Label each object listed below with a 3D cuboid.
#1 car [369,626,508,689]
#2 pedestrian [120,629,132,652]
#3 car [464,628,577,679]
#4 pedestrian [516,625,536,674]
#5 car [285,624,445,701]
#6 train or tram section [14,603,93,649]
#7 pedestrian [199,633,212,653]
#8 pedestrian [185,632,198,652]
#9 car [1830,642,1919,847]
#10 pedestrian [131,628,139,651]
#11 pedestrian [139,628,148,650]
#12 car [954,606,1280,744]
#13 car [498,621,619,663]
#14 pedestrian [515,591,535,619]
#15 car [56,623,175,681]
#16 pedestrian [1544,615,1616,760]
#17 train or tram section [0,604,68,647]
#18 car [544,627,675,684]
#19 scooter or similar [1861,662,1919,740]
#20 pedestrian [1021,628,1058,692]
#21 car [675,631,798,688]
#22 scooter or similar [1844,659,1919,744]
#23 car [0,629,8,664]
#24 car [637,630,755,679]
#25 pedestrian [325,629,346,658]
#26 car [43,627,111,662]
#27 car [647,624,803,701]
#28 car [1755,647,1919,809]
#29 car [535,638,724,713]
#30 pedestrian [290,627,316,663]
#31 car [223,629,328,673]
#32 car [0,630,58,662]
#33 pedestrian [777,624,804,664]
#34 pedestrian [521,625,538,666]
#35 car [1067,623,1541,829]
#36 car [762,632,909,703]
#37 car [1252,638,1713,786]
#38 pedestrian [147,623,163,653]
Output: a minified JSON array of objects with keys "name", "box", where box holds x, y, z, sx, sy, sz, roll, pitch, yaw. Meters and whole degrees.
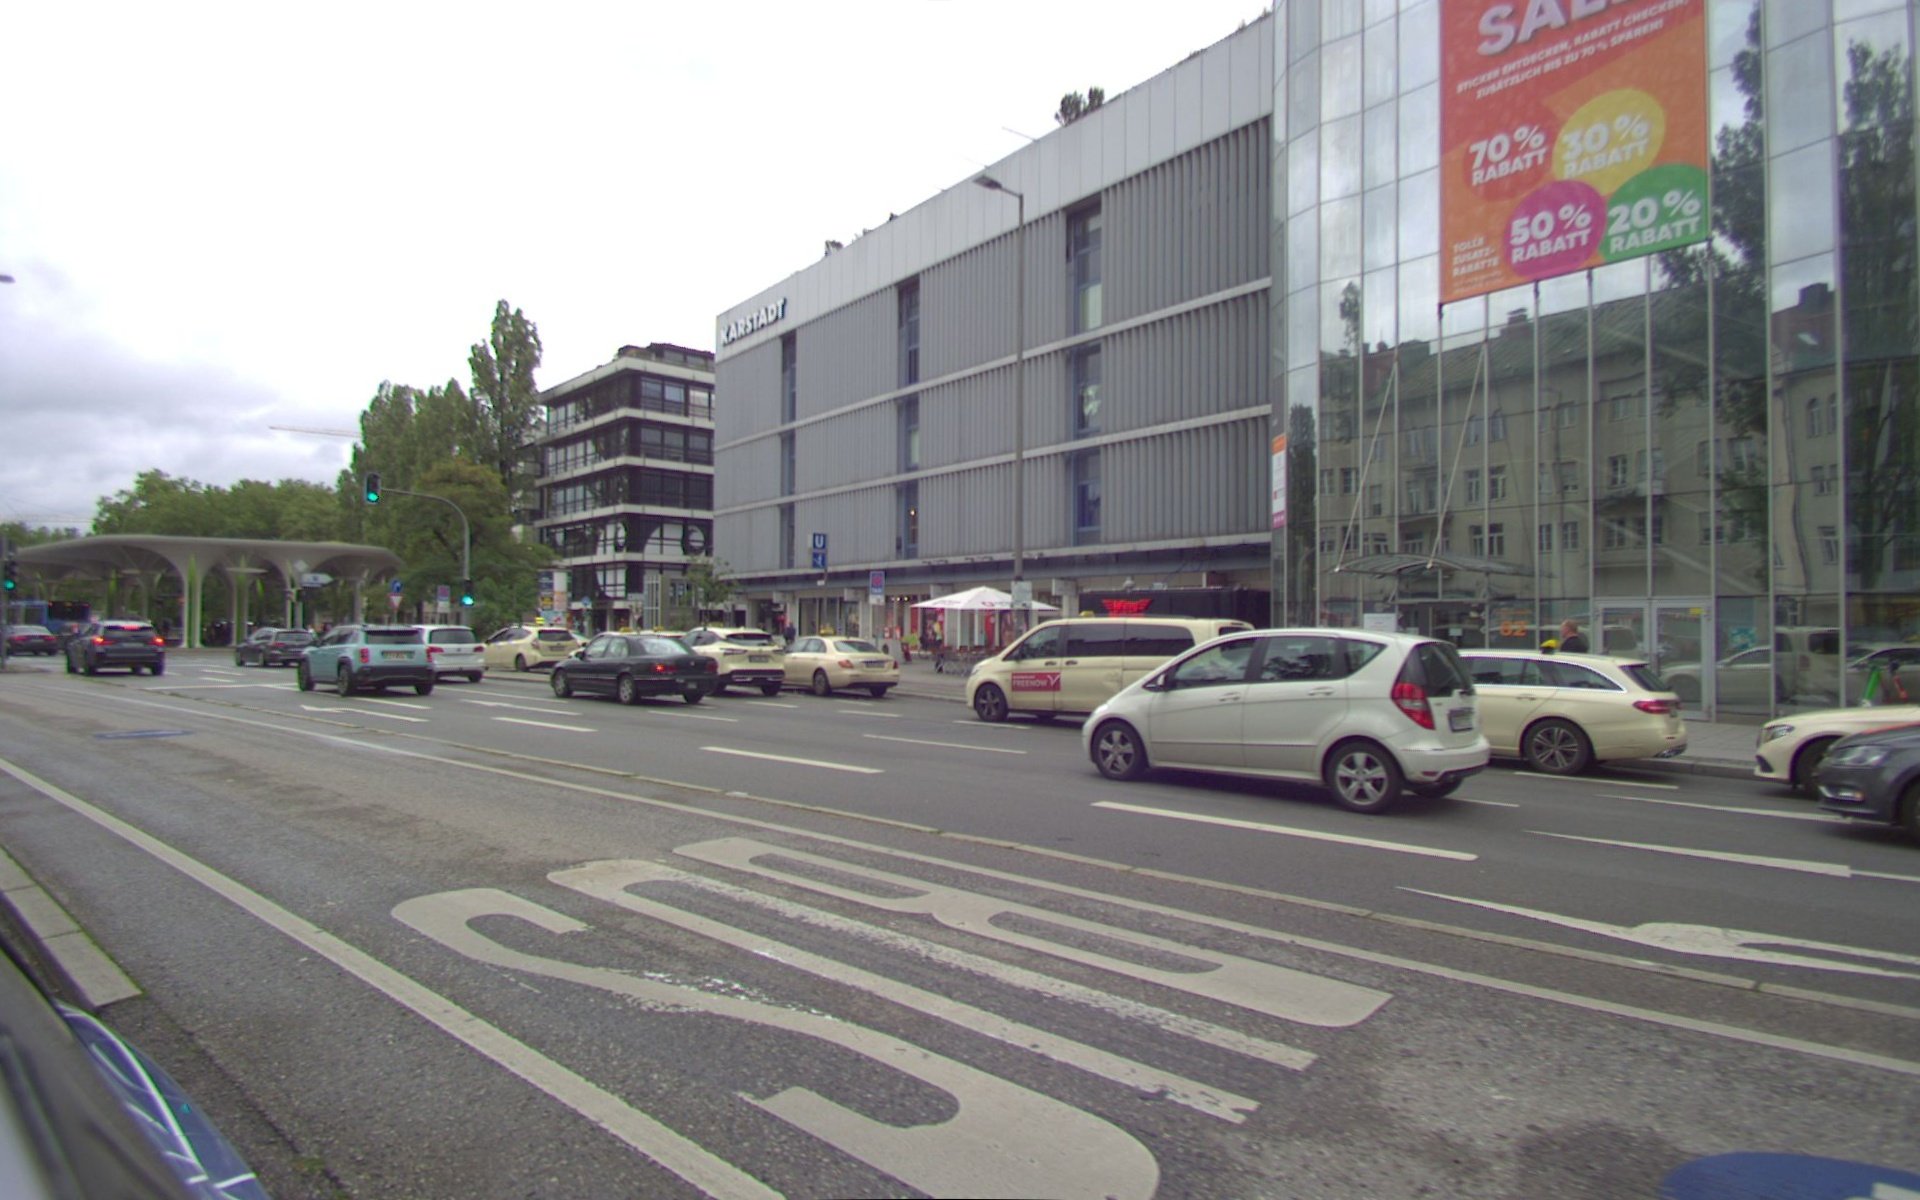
[{"name":"car","box":[-14.532,1.539,28.121,4.287,1.612,1.973,-1,-3,41]},{"name":"pedestrian","box":[-54.842,2.676,66.549,0.419,1.514,0.491,1,-2,-26]},{"name":"car","box":[-14.887,1.758,34.182,4.471,1.624,1.572,-1,-3,38]},{"name":"pedestrian","box":[-15.679,1.776,36.577,0.428,1.742,0.519,-1,0,38]},{"name":"car","box":[-13.353,1.370,22.628,3.997,1.557,1.799,-1,-5,40]},{"name":"train or tram section","box":[-62.825,1.840,70.097,7.397,3.024,2.806,-1,-2,38]},{"name":"pedestrian","box":[-51.227,2.942,68.753,0.591,1.348,0.543,-2,-3,38]},{"name":"pedestrian","box":[-51.755,2.809,68.139,0.591,1.348,0.543,-2,-3,38]},{"name":"car","box":[8.663,1.048,6.921,4.001,1.477,1.763,-2,-3,44]},{"name":"pedestrian","box":[-54.468,2.599,66.808,0.316,1.514,0.317,-1,-2,29]},{"name":"pedestrian","box":[-54.105,2.581,67.035,0.316,1.514,0.331,-1,-2,29]},{"name":"car","box":[2.535,1.179,17.351,5.319,2.029,1.972,-1,-3,41]},{"name":"car","box":[-15.176,1.560,38.253,4.272,1.522,1.844,-1,-2,24]},{"name":"pedestrian","box":[-20.859,0.262,48.537,0.773,1.318,0.537,-2,-3,39]},{"name":"car","box":[-25.677,1.545,30.740,4.409,1.633,1.973,-1,-4,40]},{"name":"pedestrian","box":[8.440,1.154,13.772,0.786,1.881,0.837,-1,-3,34]},{"name":"train or tram section","box":[-68.619,1.899,74.703,7.397,3.024,2.806,-1,-2,38]},{"name":"car","box":[-10.472,1.590,30.033,1.922,1.552,4.853,2,-3,-42]},{"name":"scooter or similar","box":[14.721,1.560,15.740,0.992,1.182,0.252,-1,-2,25]},{"name":"pedestrian","box":[2.317,1.732,29.476,0.814,1.819,0.783,-1,-3,29]},{"name":"car","box":[-6.646,1.699,29.893,1.731,1.548,4.003,2,-3,-43]},{"name":"scooter or similar","box":[13.861,1.500,15.072,0.994,1.233,0.252,-1,-2,32]},{"name":"car","box":[-42.628,1.998,43.530,2.773,1.518,1.548,0,-2,25]},{"name":"car","box":[-8.954,1.796,34.197,3.997,1.579,1.887,-2,-3,40]},{"name":"pedestrian","box":[-39.779,2.769,64.442,0.979,1.791,0.850,-2,-3,39]},{"name":"car","box":[-47.191,2.362,54.074,4.594,1.791,1.973,-2,-3,40]},{"name":"car","box":[-5.846,1.494,24.806,1.862,1.711,4.389,4,-4,-41]},{"name":"car","box":[10.401,1.208,8.954,1.833,1.480,4.992,4,-4,-38]},{"name":"car","box":[-7.119,1.522,21.561,4.686,1.420,1.711,-2,-3,42]},{"name":"pedestrian","box":[-29.650,2.018,45.650,0.753,1.563,0.637,0,0,13]},{"name":"car","box":[-26.041,1.898,38.438,4.942,1.558,1.940,-1,-3,39]},{"name":"car","box":[-47.172,2.287,50.799,5.015,1.519,1.974,-2,-3,39]},{"name":"pedestrian","box":[-6.684,1.730,39.883,0.722,1.557,0.901,2,-3,-39]},{"name":"pedestrian","box":[-18.953,1.984,44.557,0.510,1.792,0.555,-1,-1,41]},{"name":"car","box":[3.227,1.044,10.008,1.931,1.602,4.002,2,-3,-45]},{"name":"car","box":[-3.191,1.628,25.396,1.749,1.628,4.006,2,-3,-40]},{"name":"car","box":[6.673,1.303,13.373,5.085,1.564,1.956,-2,-3,42]},{"name":"pedestrian","box":[-51.293,2.419,64.456,0.656,1.865,0.790,2,-3,-32]}]
